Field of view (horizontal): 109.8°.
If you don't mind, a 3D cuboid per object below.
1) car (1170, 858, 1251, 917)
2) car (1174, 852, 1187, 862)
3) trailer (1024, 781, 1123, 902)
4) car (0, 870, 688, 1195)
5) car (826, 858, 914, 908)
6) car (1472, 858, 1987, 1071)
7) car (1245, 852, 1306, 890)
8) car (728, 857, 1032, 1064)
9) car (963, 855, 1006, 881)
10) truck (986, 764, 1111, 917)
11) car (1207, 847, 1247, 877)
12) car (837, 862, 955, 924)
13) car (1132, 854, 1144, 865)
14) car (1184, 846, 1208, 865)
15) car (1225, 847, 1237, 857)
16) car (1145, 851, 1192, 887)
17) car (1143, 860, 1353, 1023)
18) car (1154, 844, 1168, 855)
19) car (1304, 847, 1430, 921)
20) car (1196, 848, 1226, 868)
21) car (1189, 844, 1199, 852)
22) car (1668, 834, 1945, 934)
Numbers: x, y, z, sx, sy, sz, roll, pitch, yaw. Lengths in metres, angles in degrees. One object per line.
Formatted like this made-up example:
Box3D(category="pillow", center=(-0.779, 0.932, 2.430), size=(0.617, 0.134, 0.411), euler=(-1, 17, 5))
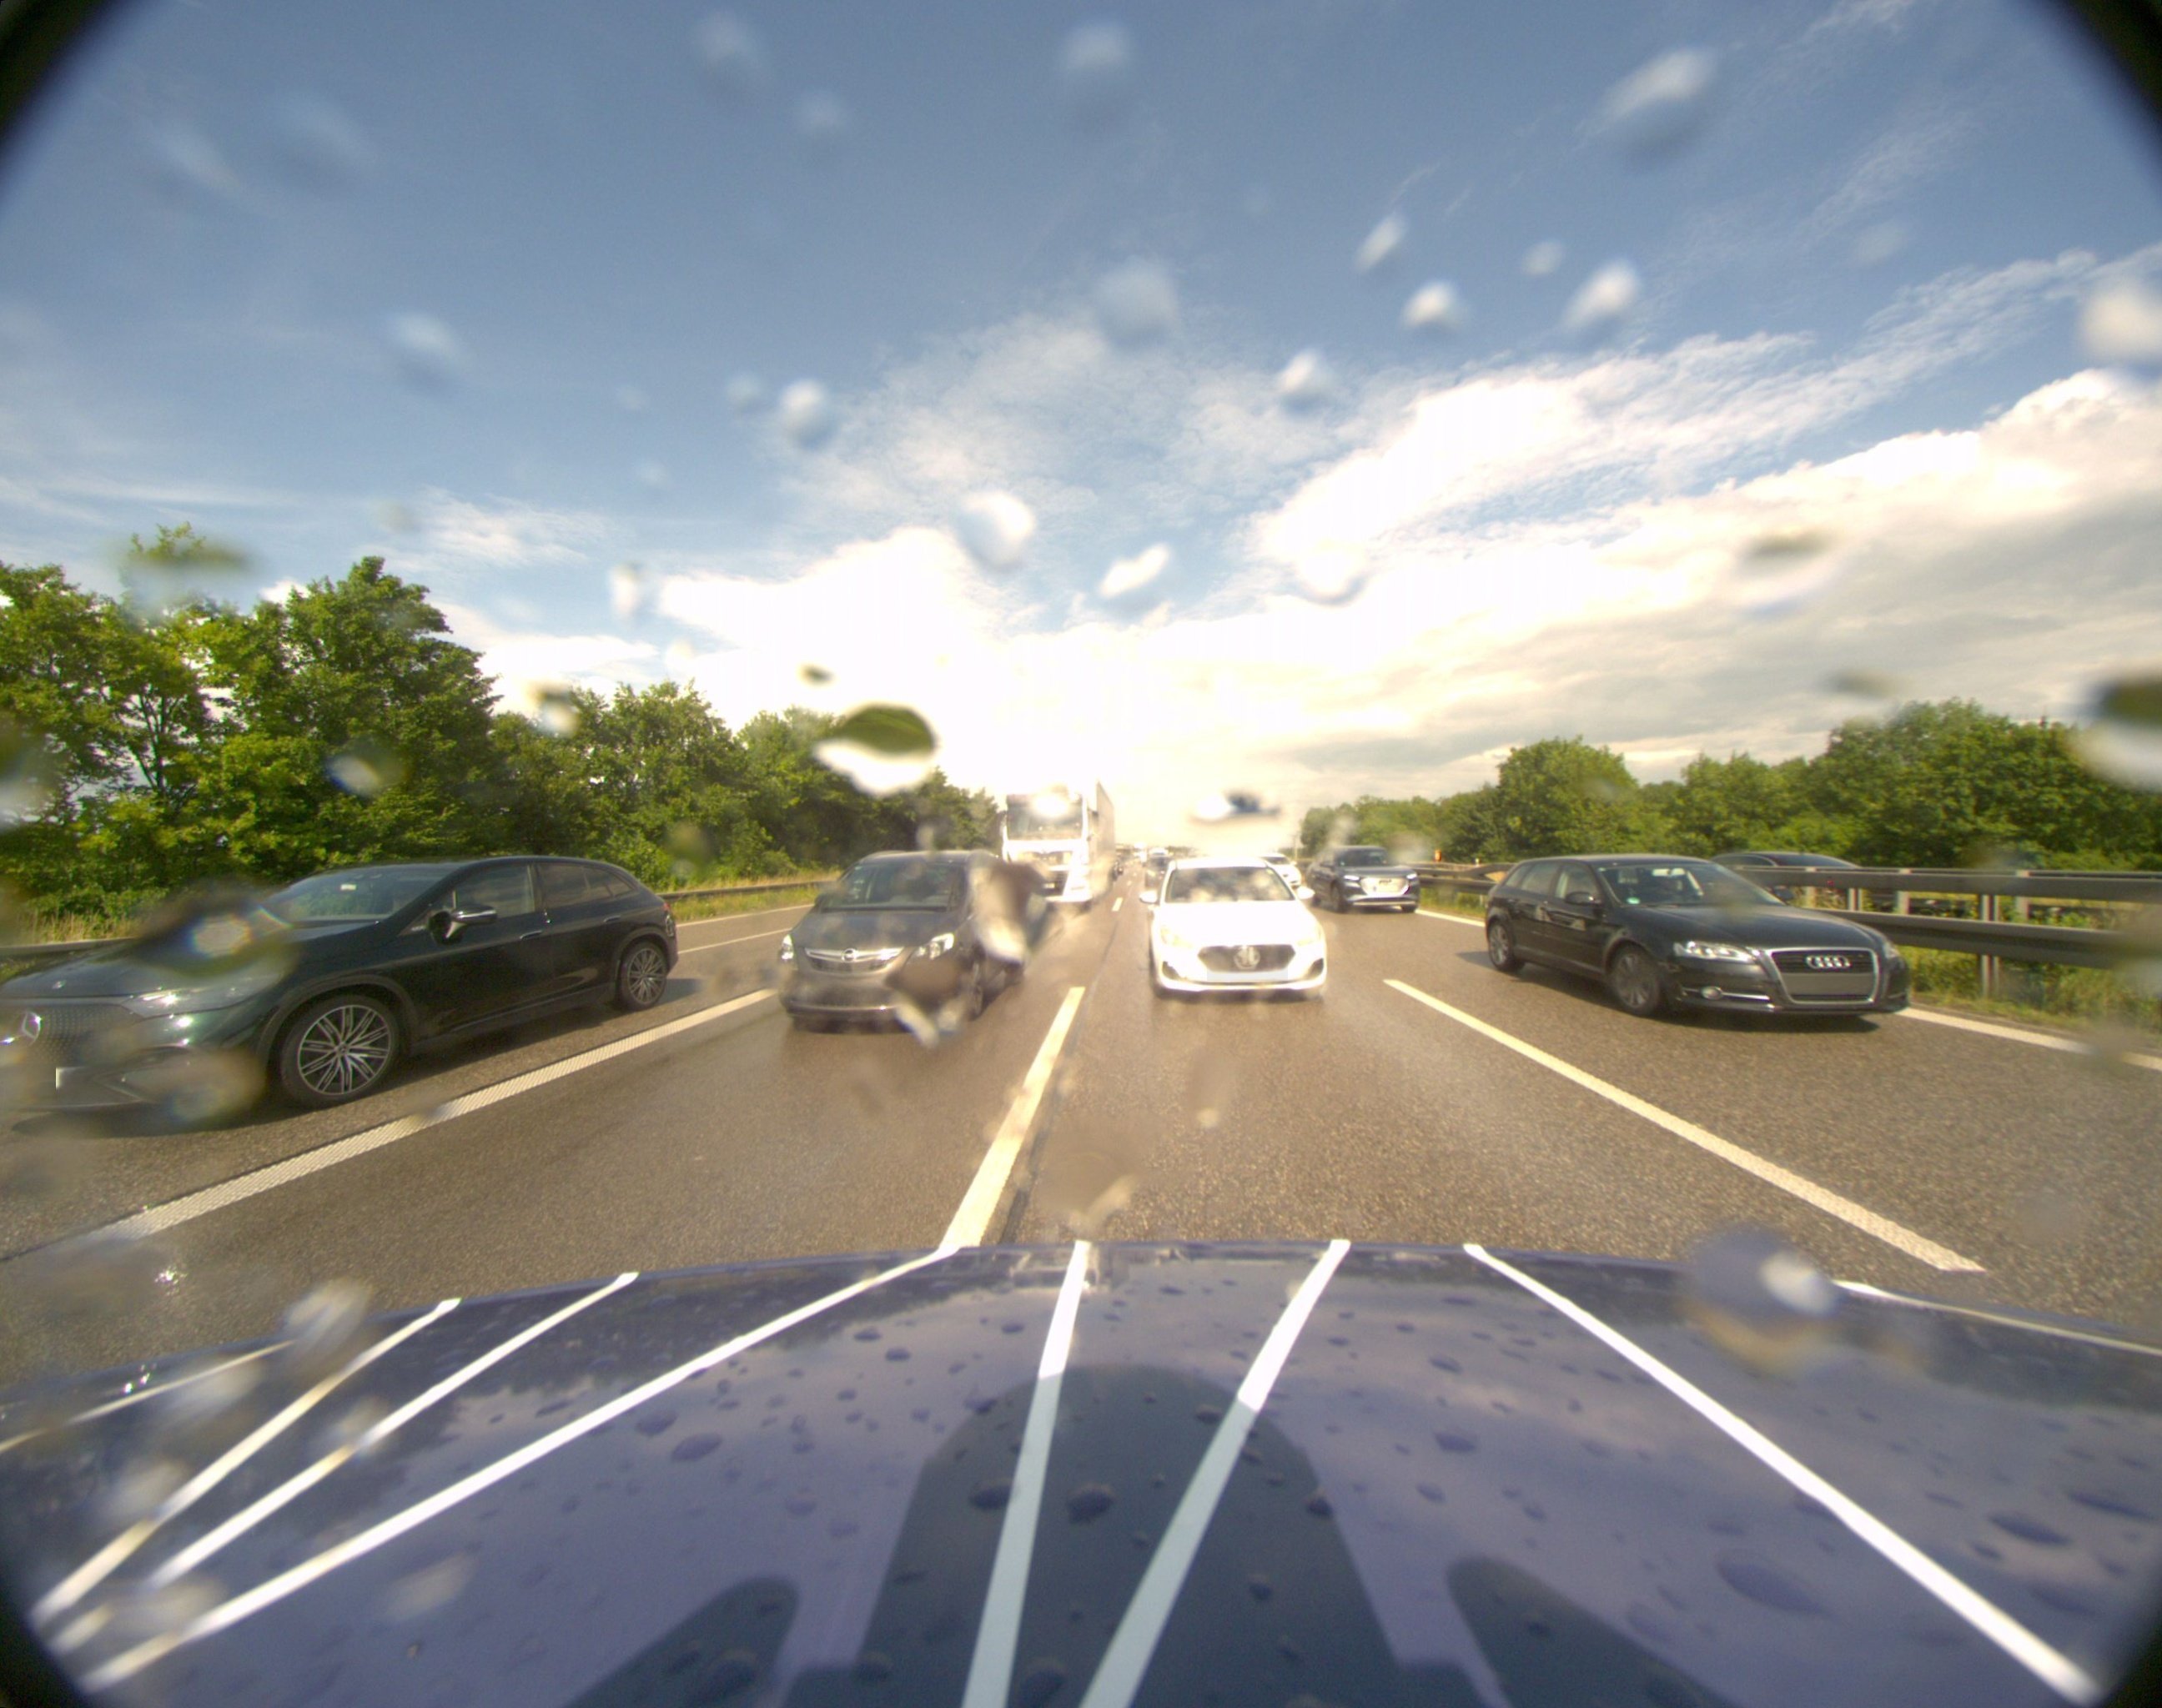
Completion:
Box3D(category="car", center=(3.360, 0.828, 20.414), size=(1.728, 1.330, 4.288), euler=(-1, 0, 4))
Box3D(category="car", center=(18.248, 0.493, 139.925), size=(1.998, 1.687, 4.000), euler=(-3, 1, 4))
Box3D(category="trailer", center=(0.043, -0.483, 32.171), size=(2.789, 4.082, 11.542), euler=(-2, 1, 6))
Box3D(category="car", center=(-5.632, 1.004, 6.339), size=(1.998, 1.572, 4.654), euler=(-1, 0, 4))
Box3D(category="car", center=(-7.557, 0.986, 27.650), size=(1.752, 1.577, 4.287), euler=(-2, 1, 3))
Box3D(category="car", center=(5.650, 0.807, 7.466), size=(1.770, 1.417, 4.140), euler=(-2, 1, 5))
Box3D(category="car", center=(7.974, 0.665, 31.476), size=(1.771, 1.371, 4.000), euler=(-1, 1, 4))
Box3D(category="car", center=(-1.795, 0.887, 8.399), size=(1.883, 1.638, 4.397), euler=(-1, 0, 4))
Box3D(category="car", center=(-6.076, 0.831, 48.258), size=(1.791, 1.454, 4.507), euler=(-2, 1, 4))
Box3D(category="truck", center=(-0.754, -0.407, 24.483), size=(2.816, 4.083, 7.448), euler=(-2, 1, 6))
Box3D(category="car", center=(9.277, 0.482, 48.563), size=(1.998, 1.739, 4.000), euler=(-3, 1, 4))
Box3D(category="car", center=(-4.904, 0.986, 20.845), size=(1.755, 1.402, 4.512), euler=(-2, 0, 5))
Box3D(category="car", center=(9.691, 0.876, 129.268), size=(1.998, 1.687, 4.000), euler=(-3, 1, 4))
Box3D(category="car", center=(11.617, 0.153, 76.909), size=(1.998, 1.687, 4.000), euler=(-3, 1, 4))
Box3D(category="car", center=(31.480, -0.510, 159.660), size=(1.998, 2.002, 4.654), euler=(-1, 0, 4))
Box3D(category="car", center=(4.118, 0.686, 36.396), size=(1.998, 1.477, 4.000), euler=(-2, 1, 4))
Box3D(category="car", center=(1.740, 0.848, 9.390), size=(1.885, 1.446, 4.549), euler=(-1, 0, 4))
Box3D(category="car", center=(13.108, -0.699, 124.671), size=(1.998, 1.687, 4.000), euler=(-3, 1, 4))
Box3D(category="car", center=(6.983, 0.650, 19.047), size=(1.874, 1.597, 4.230), euler=(-1, 0, 5))
Box3D(category="car", center=(10.916, 0.332, 64.047), size=(1.998, 1.471, 4.000), euler=(-3, 1, 4))
Box3D(category="car", center=(27.657, -1.460, 186.210), size=(1.998, 1.768, 4.462), euler=(-1, 0, 5))
Box3D(category="car", center=(14.281, 0.519, 15.356), size=(1.998, 1.725, 4.001), euler=(-1, 0, 6))
